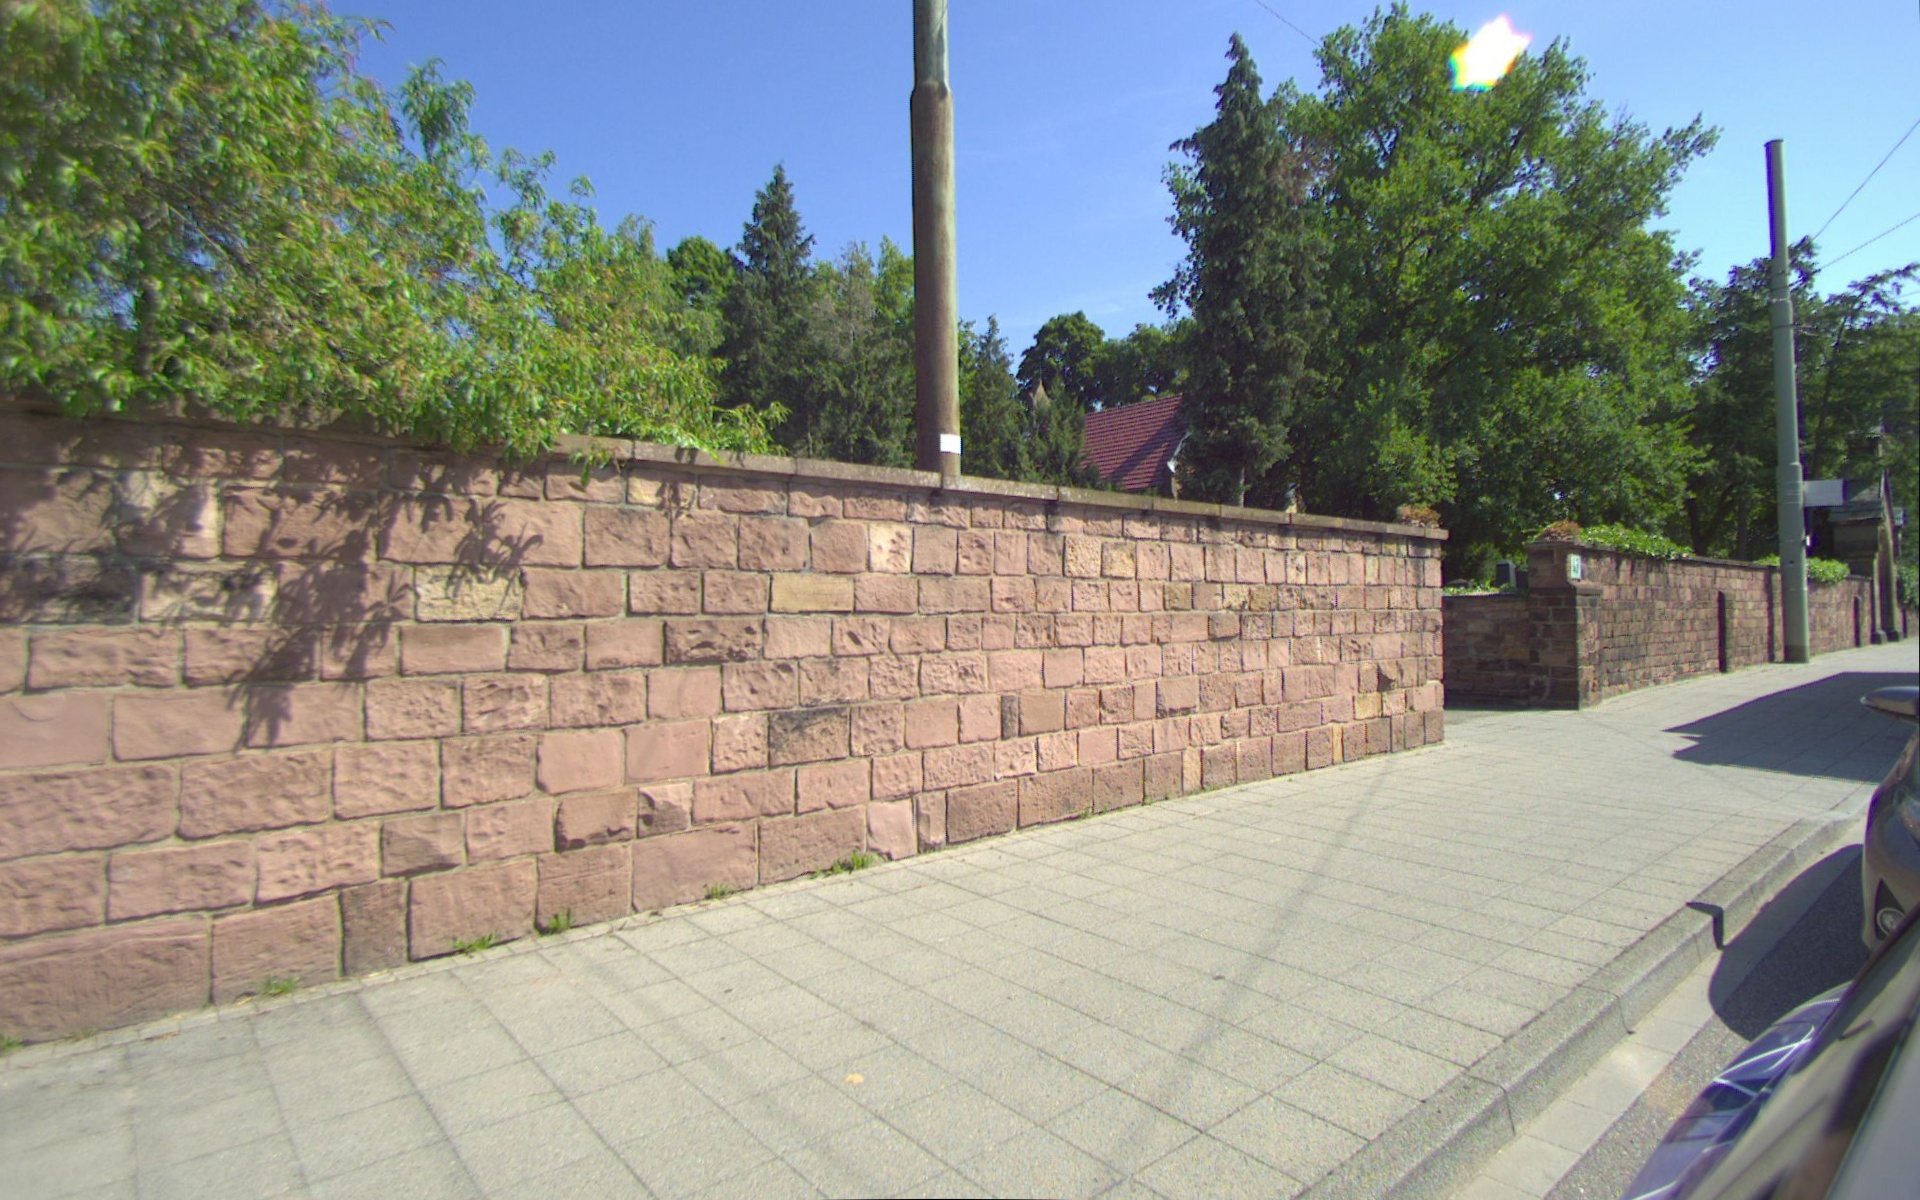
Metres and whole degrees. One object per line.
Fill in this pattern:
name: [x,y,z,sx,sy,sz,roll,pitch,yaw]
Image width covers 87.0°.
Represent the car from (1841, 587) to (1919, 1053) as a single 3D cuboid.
car: [5.084,0.674,4.059,4.384,1.451,1.741,0,0,-41]
